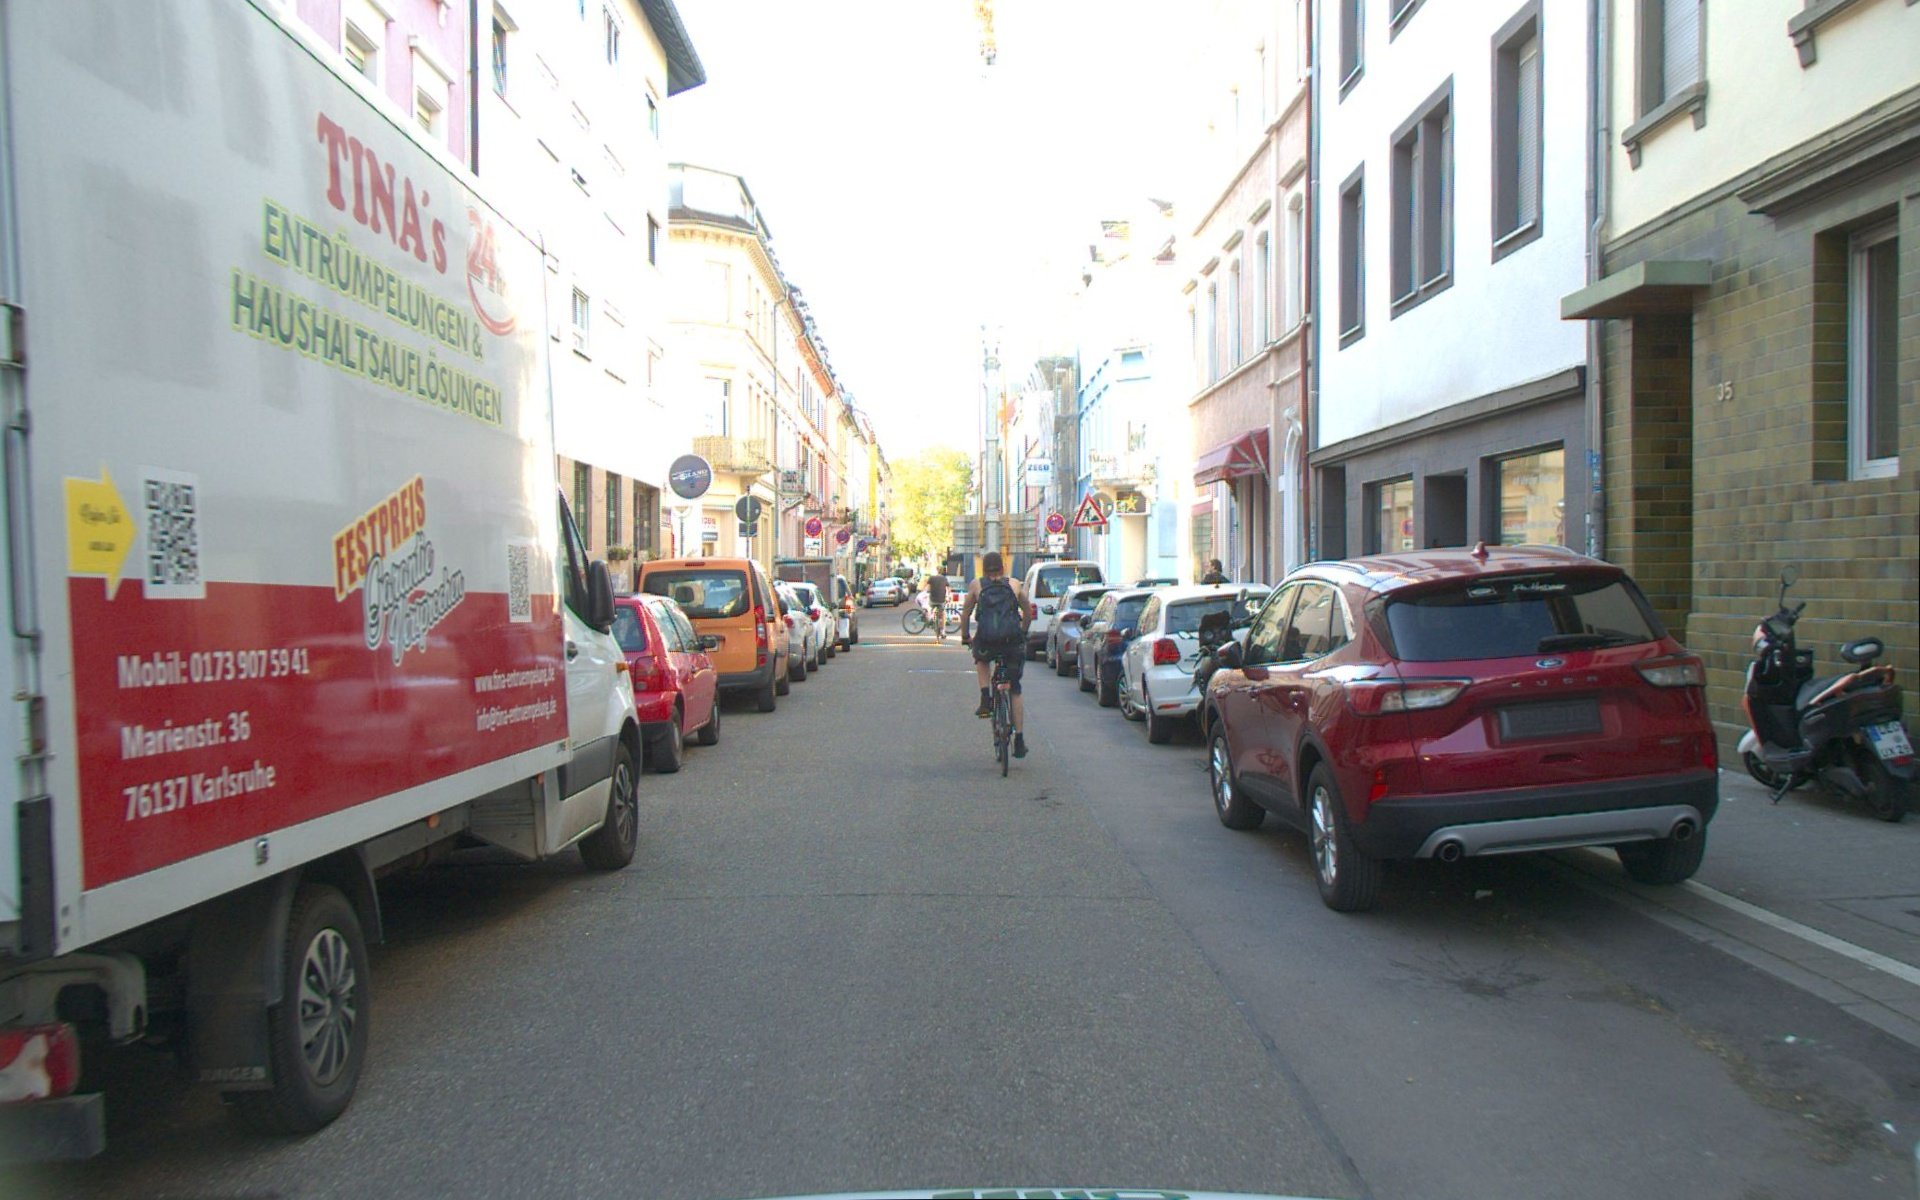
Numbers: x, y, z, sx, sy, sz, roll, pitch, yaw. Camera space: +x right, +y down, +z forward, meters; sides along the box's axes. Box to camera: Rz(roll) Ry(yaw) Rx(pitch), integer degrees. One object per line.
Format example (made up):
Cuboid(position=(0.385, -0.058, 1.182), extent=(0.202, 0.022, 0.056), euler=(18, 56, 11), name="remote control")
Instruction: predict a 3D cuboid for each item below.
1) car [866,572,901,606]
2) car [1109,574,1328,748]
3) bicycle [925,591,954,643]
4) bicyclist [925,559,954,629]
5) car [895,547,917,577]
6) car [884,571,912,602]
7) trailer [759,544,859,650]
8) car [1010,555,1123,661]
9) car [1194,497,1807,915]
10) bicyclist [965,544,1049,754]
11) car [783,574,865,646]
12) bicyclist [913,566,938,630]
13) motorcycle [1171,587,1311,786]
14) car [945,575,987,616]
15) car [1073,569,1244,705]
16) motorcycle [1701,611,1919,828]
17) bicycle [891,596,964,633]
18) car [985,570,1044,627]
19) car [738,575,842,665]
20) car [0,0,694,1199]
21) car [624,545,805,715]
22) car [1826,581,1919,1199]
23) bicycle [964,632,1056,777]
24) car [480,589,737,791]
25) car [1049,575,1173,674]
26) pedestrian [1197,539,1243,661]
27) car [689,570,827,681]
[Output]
Cuboid(position=(-4.118, -0.598, 89.190), extent=(1.715, 1.713, 3.795), euler=(-2, 0, -1), name="car")
Cuboid(position=(2.598, 0.554, 17.461), extent=(1.633, 1.531, 3.816), euler=(-4, 0, 0), name="car")
Cuboid(position=(-0.482, 0.376, 38.357), extent=(0.635, 1.149, 2.135), euler=(0, 0, -1), name="bicycle")
Cuboid(position=(-0.482, -0.142, 38.393), extent=(0.657, 1.594, 0.716), euler=(0, 0, -2), name="bicyclist")
Cuboid(position=(-4.441, -3.094, 135.798), extent=(1.715, 2.358, 3.795), euler=(-2, 0, -1), name="car")
Cuboid(position=(-3.982, -0.868, 106.400), extent=(1.715, 1.853, 3.795), euler=(-2, 0, -1), name="car")
Cuboid(position=(-3.220, -0.072, 35.979), extent=(1.844, 2.129, 3.736), euler=(-2, 0, -1), name="trailer")
Cuboid(position=(2.058, 0.135, 32.881), extent=(1.715, 1.911, 3.970), euler=(-2, 0, -3), name="car")
Cuboid(position=(2.595, 0.416, 9.160), extent=(1.879, 1.735, 4.365), euler=(-1, 1, -1), name="car")
Cuboid(position=(0.386, 0.398, 14.039), extent=(0.654, 1.706, 1.097), euler=(0, 0, -2), name="bicyclist")
Cuboid(position=(-3.277, 0.219, 40.292), extent=(1.715, 1.600, 3.795), euler=(-2, 0, -1), name="car")
Cuboid(position=(-0.934, -0.051, 44.845), extent=(0.668, 1.736, 0.381), euler=(0, 0, -4), name="bicyclist")
Cuboid(position=(2.299, 0.651, 13.836), extent=(0.731, 1.516, 2.421), euler=(0, 0, -1), name="motorcycle")
Cuboid(position=(0.220, -0.202, 66.464), extent=(1.578, 1.587, 3.609), euler=(0, 0, -1), name="car")
Cuboid(position=(2.521, 0.425, 21.857), extent=(1.613, 1.500, 3.970), euler=(-5, 0, -1), name="car")
Cuboid(position=(5.112, 0.649, 9.819), extent=(0.491, 1.114, 1.878), euler=(-3, 0, -1), name="motorcycle")
Cuboid(position=(-0.885, 0.386, 44.860), extent=(1.956, 0.975, 0.478), euler=(0, 0, -4), name="bicycle")
Cuboid(position=(1.616, -0.050, 50.156), extent=(1.578, 1.662, 3.609), euler=(0, 0, -1), name="car")
Cuboid(position=(-3.154, 0.345, 31.311), extent=(1.620, 1.564, 3.633), euler=(-2, 0, -1), name="car")
Cuboid(position=(-2.834, -0.155, 6.551), extent=(2.296, 3.348, 7.153), euler=(-3, 0, 0), name="car")
Cuboid(position=(-2.985, 0.330, 20.888), extent=(1.717, 1.847, 4.077), euler=(-3, 0, -2), name="car")
Cuboid(position=(2.611, 0.730, 1.258), extent=(1.652, 1.570, 4.045), euler=(-3, 0, -2), name="car")
Cuboid(position=(0.396, 0.842, 14.020), extent=(0.663, 1.093, 1.941), euler=(0, 0, -2), name="bicycle")
Cuboid(position=(-3.034, 0.703, 14.942), extent=(1.546, 1.509, 3.564), euler=(-4, 0, -1), name="car")
Cuboid(position=(2.469, 0.369, 27.828), extent=(1.714, 1.512, 3.800), euler=(-2, 0, 0), name="car")
Cuboid(position=(4.390, -0.002, 27.973), extent=(0.631, 2.049, 0.763), euler=(0, 0, -1), name="pedestrian")
Cuboid(position=(-3.119, 0.360, 26.292), extent=(1.715, 1.564, 4.318), euler=(-2, 0, -1), name="car")
